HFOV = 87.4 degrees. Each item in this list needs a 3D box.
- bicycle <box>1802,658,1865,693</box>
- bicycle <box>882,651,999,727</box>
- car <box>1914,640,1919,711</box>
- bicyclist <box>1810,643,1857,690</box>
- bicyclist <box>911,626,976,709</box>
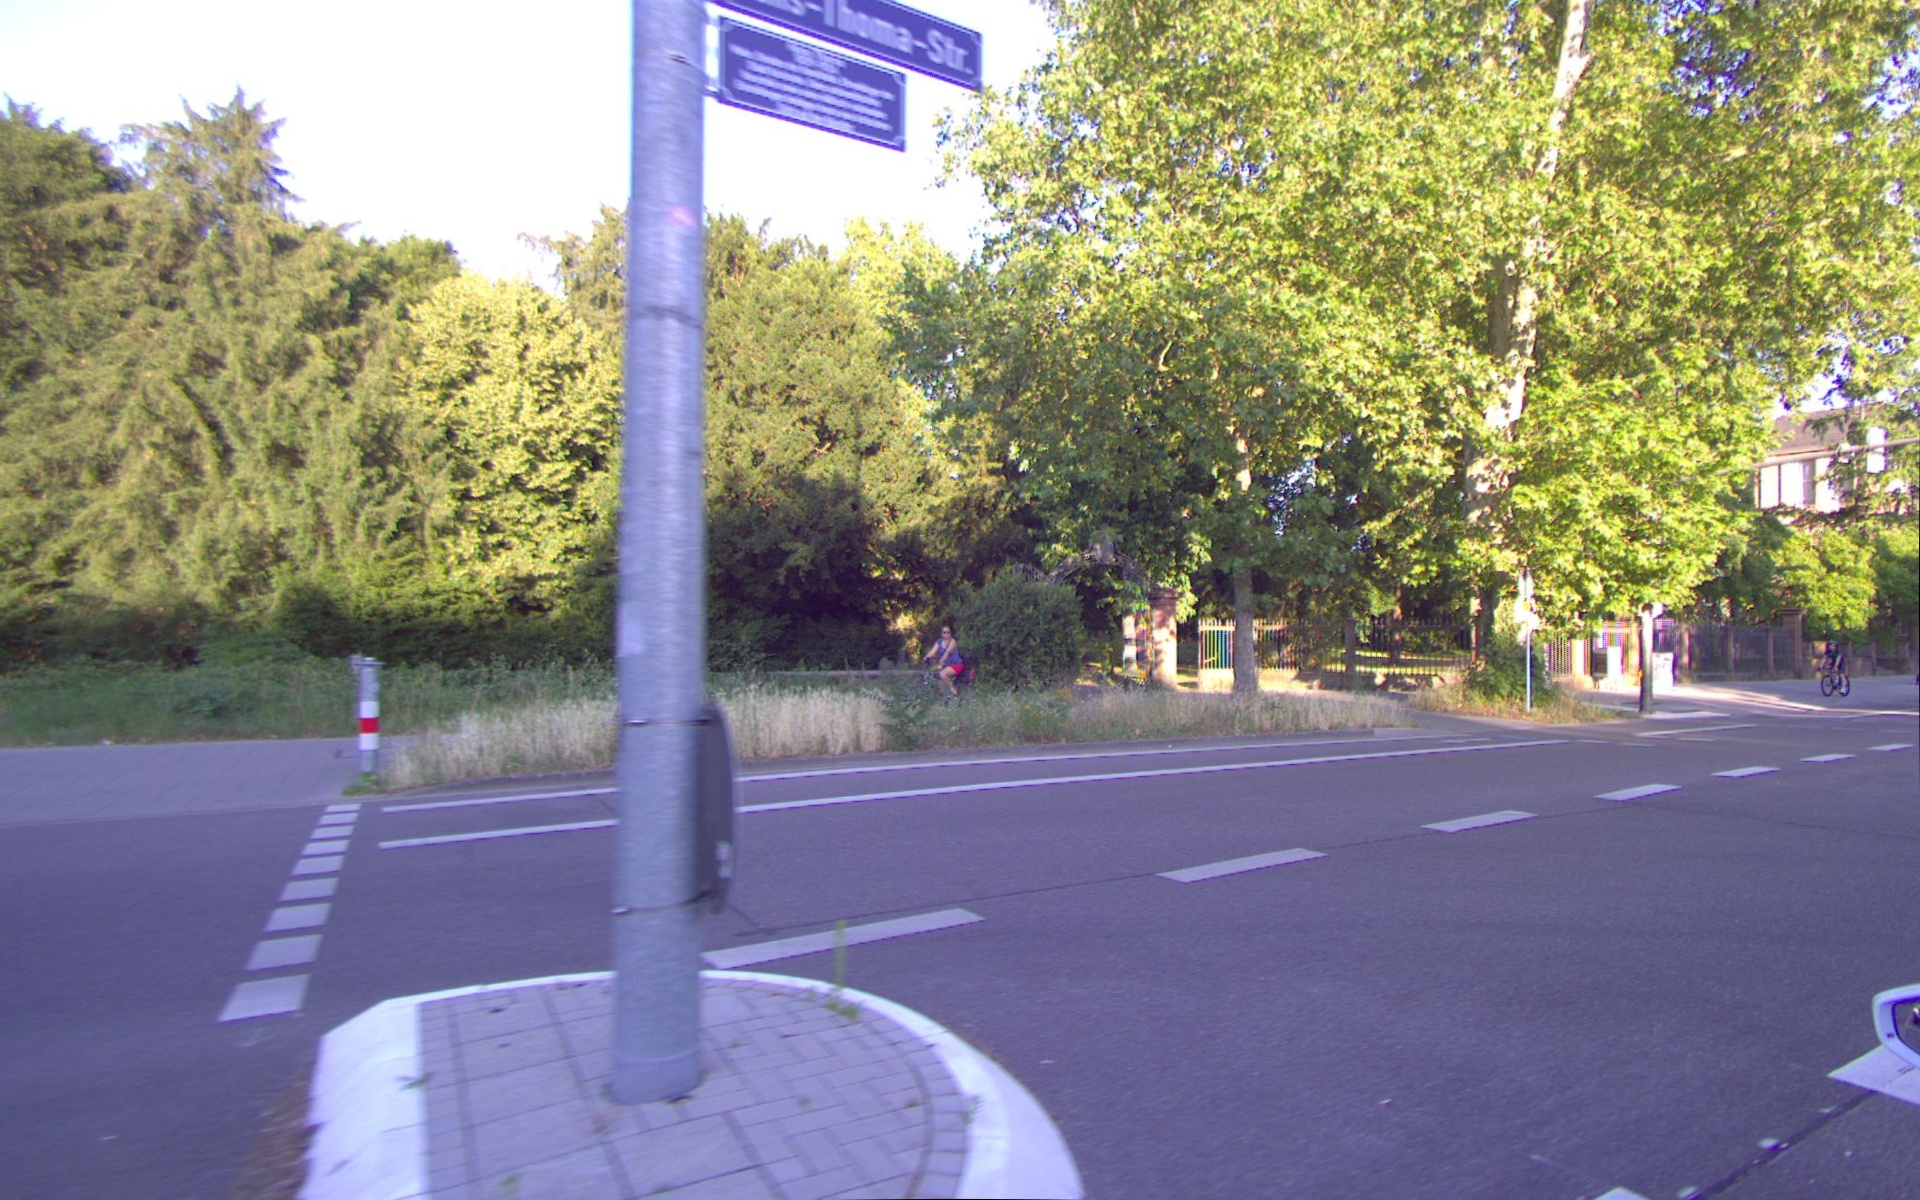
[{"bbox_3d":[27.246,2.345,31.326,2.172,1.029,0.851,2,-2,-30],"label":"bicycle"},{"bbox_3d":[-0.334,1.563,17.968,1.957,1.273,0.785,2,-2,-31],"label":"bicycle"},{"bbox_3d":[25.516,1.843,24.832,4.382,1.717,1.905,2,-4,-35],"label":"car"},{"bbox_3d":[27.270,2.064,31.364,0.932,1.450,0.851,1,-2,-30],"label":"bicyclist"},{"bbox_3d":[-0.305,1.187,17.992,0.882,1.446,0.785,2,-2,-31],"label":"bicyclist"}]
